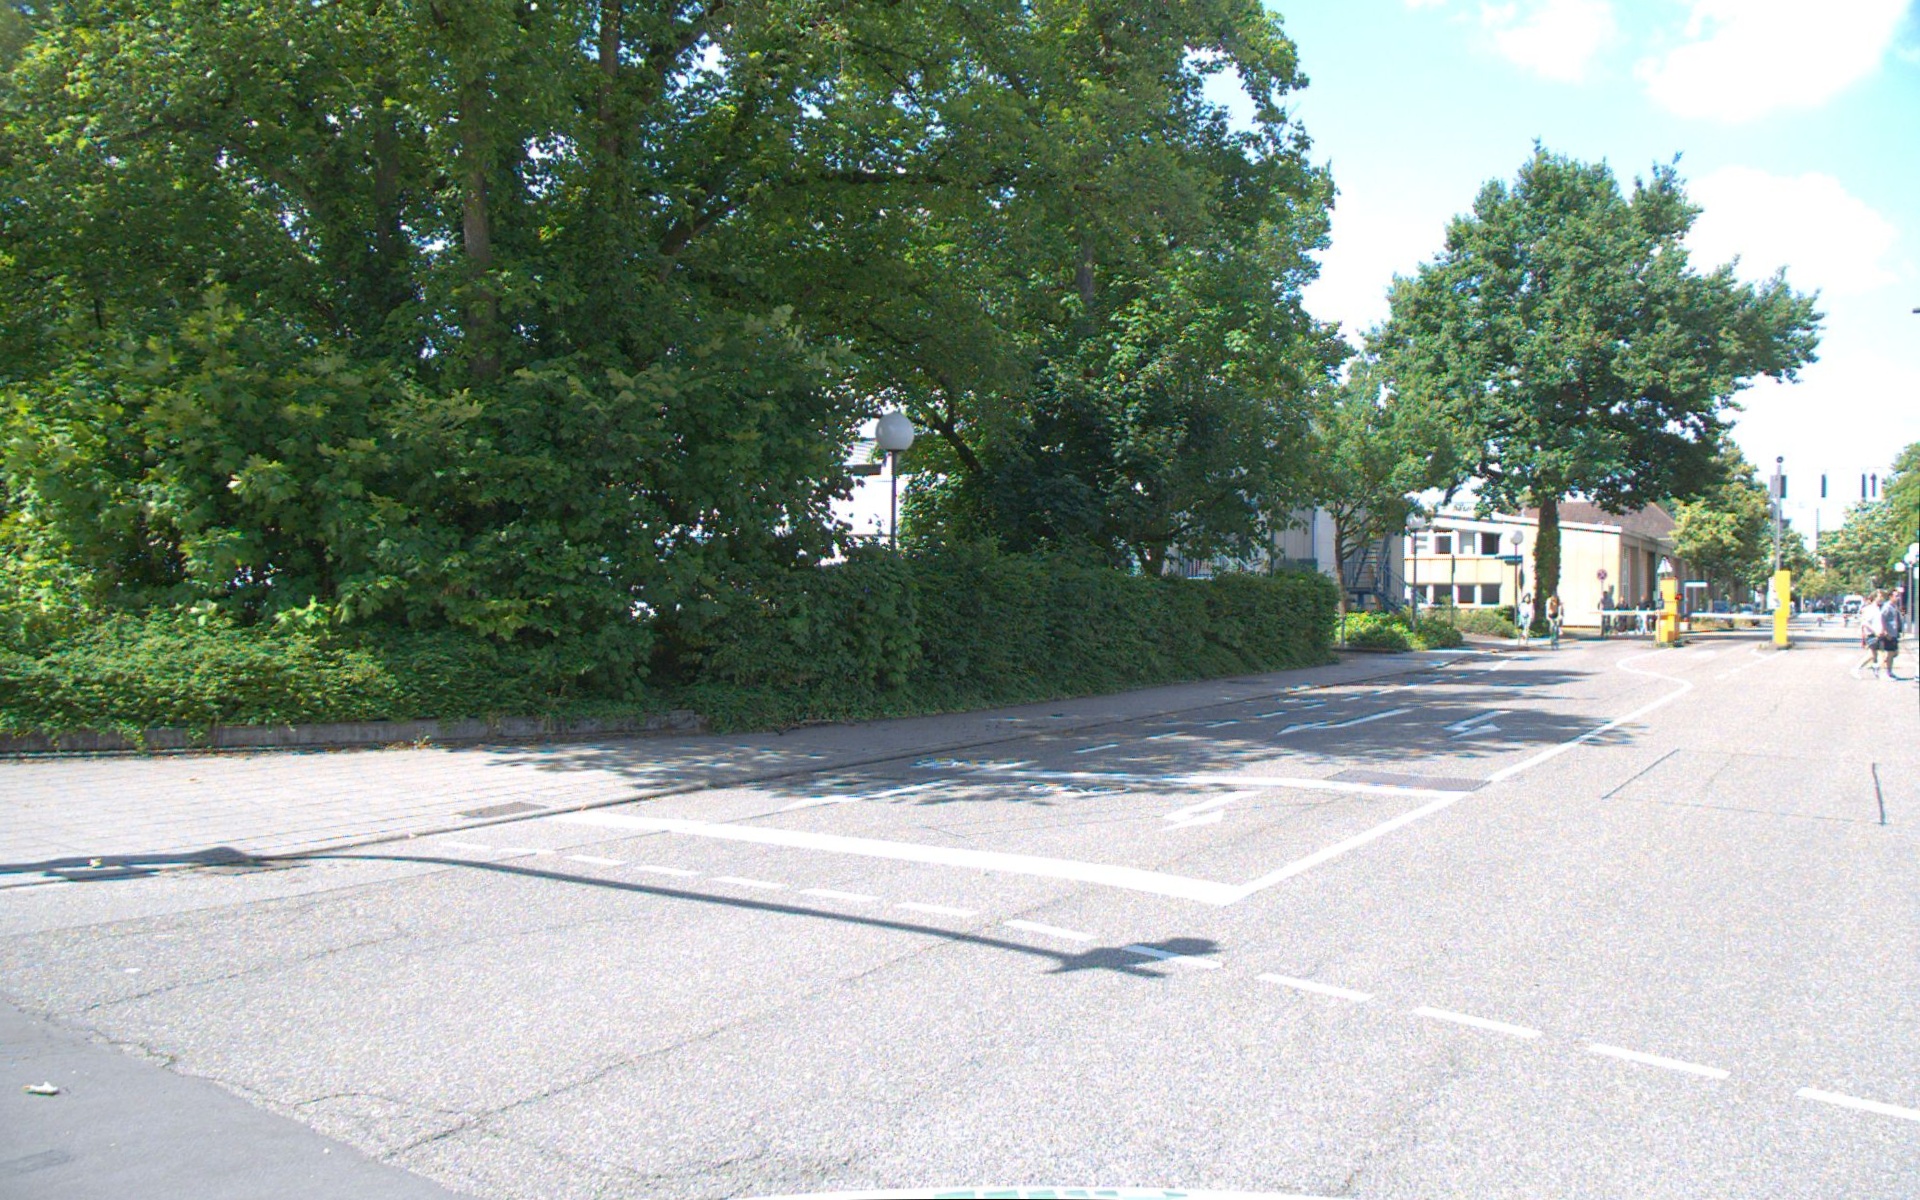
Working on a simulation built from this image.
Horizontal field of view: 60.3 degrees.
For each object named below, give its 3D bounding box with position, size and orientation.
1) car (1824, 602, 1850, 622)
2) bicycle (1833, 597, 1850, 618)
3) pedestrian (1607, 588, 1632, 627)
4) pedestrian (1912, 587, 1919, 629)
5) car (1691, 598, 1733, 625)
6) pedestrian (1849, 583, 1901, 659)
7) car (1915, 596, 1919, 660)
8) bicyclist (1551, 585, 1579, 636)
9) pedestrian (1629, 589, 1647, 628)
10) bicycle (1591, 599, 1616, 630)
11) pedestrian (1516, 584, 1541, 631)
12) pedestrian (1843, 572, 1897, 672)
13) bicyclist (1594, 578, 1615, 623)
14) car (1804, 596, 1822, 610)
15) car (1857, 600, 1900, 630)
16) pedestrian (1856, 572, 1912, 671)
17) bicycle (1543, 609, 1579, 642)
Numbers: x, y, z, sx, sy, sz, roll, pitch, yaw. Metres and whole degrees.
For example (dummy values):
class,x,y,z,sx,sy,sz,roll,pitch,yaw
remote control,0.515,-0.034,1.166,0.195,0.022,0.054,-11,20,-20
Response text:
class,x,y,z,sx,sy,sz,roll,pitch,yaw
car,84.777,1.158,159.860,1.957,1.751,3.990,0,-2,31
bicycle,59.571,0.492,111.796,0.968,1.339,2.959,0,-2,28
pedestrian,31.446,0.367,78.862,1.036,1.847,0.805,0,0,28
pedestrian,41.509,0.335,71.311,0.681,1.812,1.084,-2,-1,27
car,44.618,0.651,98.070,1.956,1.573,4.204,1,0,29
pedestrian,21.333,0.474,38.576,0.610,1.747,1.040,0,0,-3
car,23.793,0.665,39.234,1.831,1.490,4.513,0,0,29
bicyclist,18.964,0.315,51.852,0.679,1.575,1.017,0,-1,28
pedestrian,31.898,0.395,77.796,0.691,1.841,1.000,0,0,28
bicycle,25.525,0.573,65.598,0.679,1.191,2.206,0,0,28
pedestrian,20.402,0.273,59.339,0.699,1.655,0.882,0,0,28
pedestrian,18.129,0.434,32.948,0.587,1.959,0.775,0,0,-38
bicyclist,25.471,0.005,65.399,0.679,1.767,0.917,0,-1,28
car,120.106,0.450,232.910,1.957,1.751,3.990,0,-2,31
car,48.471,0.774,87.297,1.956,1.573,4.204,0,0,29
pedestrian,18.662,0.425,33.394,0.727,1.959,0.773,0,0,-39
bicycle,18.861,0.797,51.878,0.777,1.006,2.206,0,0,28
